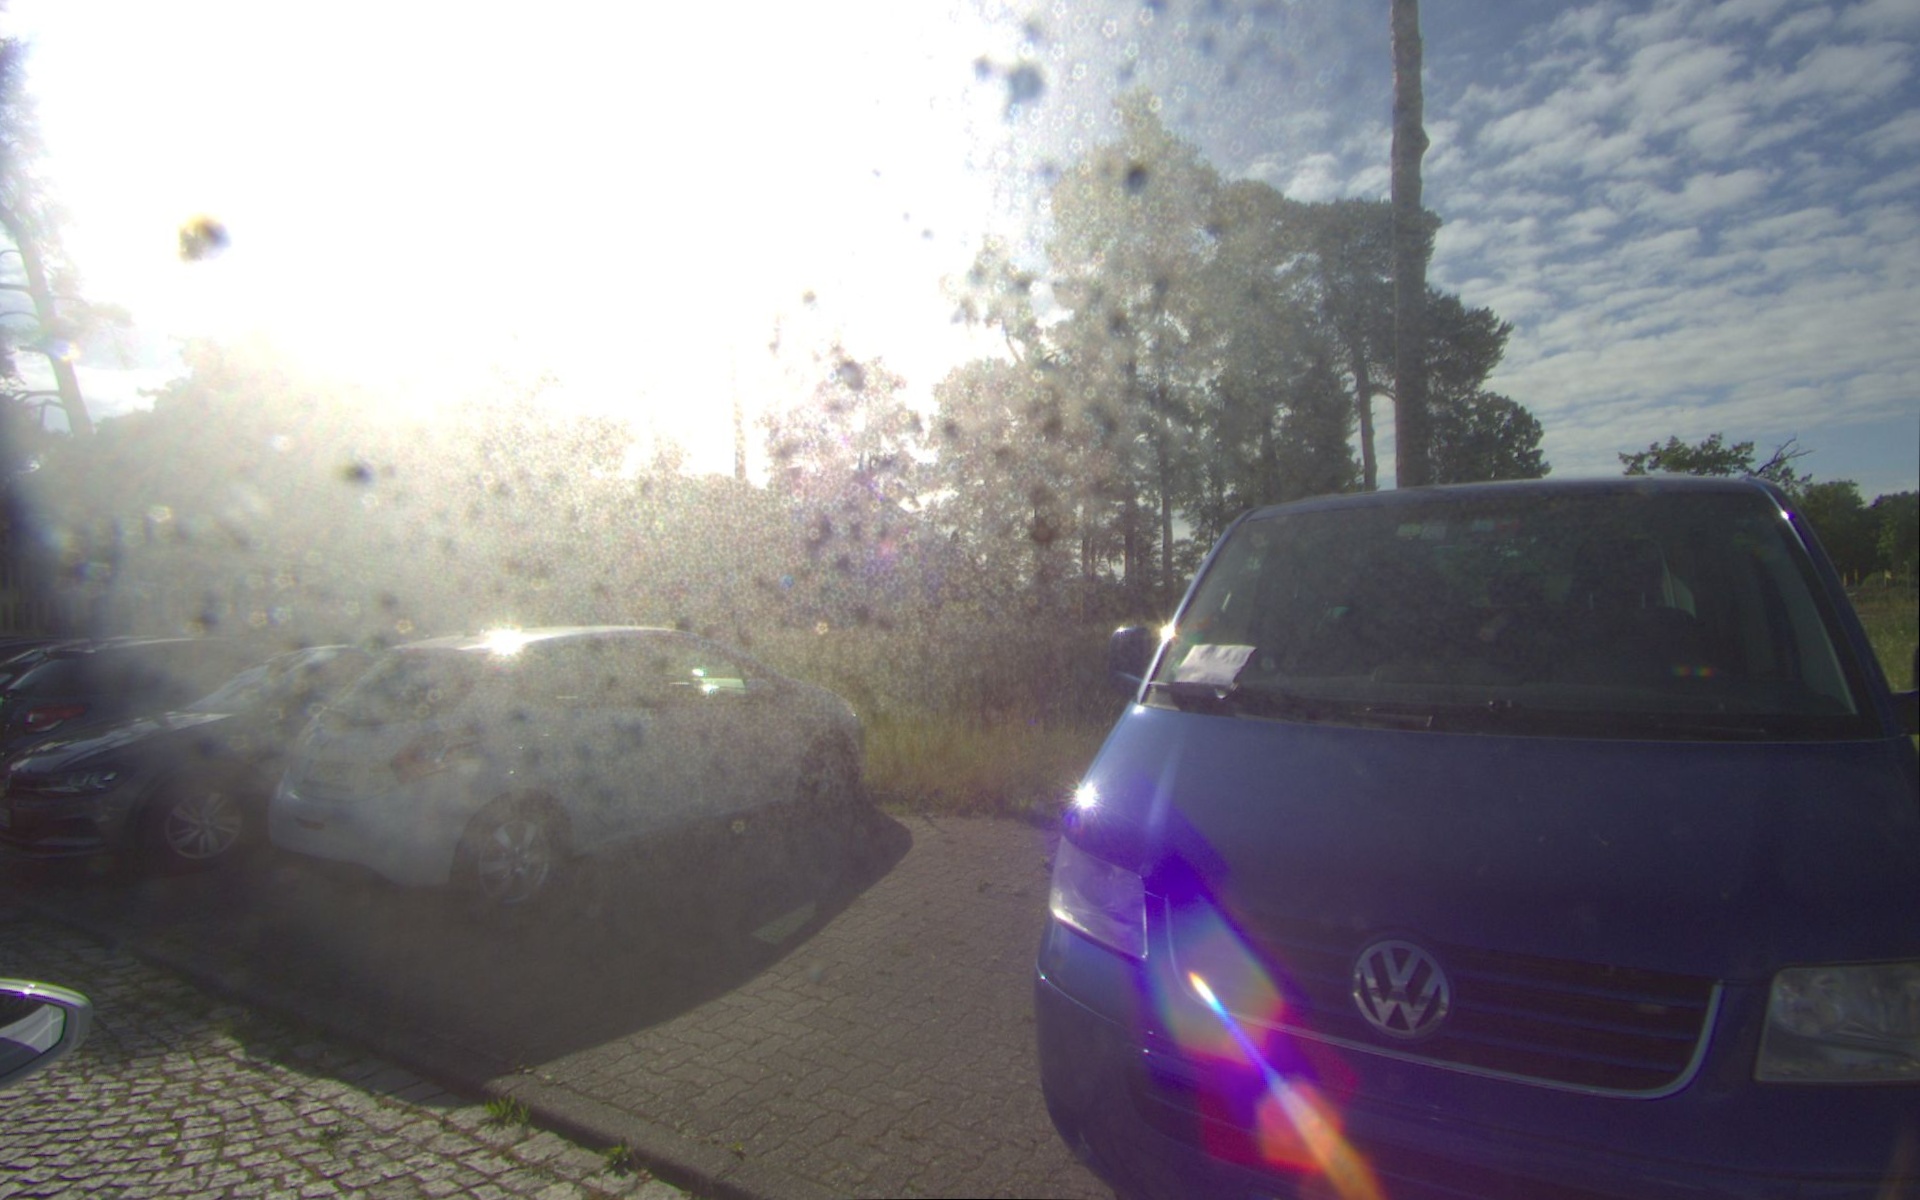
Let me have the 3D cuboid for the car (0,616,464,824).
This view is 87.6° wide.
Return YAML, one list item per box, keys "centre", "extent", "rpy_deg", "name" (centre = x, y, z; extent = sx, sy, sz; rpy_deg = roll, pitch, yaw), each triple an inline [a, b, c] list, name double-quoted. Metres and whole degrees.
- centre: [-7.083, 0.982, 9.788]
  extent: [1.643, 1.474, 3.654]
  rpy_deg: [-1, 1, 32]
  name: "car"

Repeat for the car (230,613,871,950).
- centre: [-2.338, 0.870, 6.578]
  extent: [1.611, 1.511, 3.637]
  rpy_deg: [-1, -1, 32]
  name: "car"

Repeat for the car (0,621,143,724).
- centre: [-15.566, 1.174, 15.117]
  extent: [1.842, 1.475, 4.611]
  rpy_deg: [-1, 1, 30]
  name: "car"

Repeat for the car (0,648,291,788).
- centre: [-9.466, 1.208, 10.788]
  extent: [1.515, 1.258, 3.453]
  rpy_deg: [-1, -1, 33]
  name: "car"

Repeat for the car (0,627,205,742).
- centre: [-13.155, 1.157, 13.498]
  extent: [1.763, 1.407, 4.390]
  rpy_deg: [-1, 0, 31]
  name: "car"

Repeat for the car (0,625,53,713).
- centre: [-17.561, 1.235, 16.414]
  extent: [1.642, 1.462, 3.664]
  rpy_deg: [-1, 1, 32]
  name: "car"

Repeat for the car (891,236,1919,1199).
- centre: [1.968, 0.490, 3.723]
  extent: [1.972, 2.041, 4.742]
  rpy_deg: [-1, 1, 32]
  name: "car"

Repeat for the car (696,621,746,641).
- centre: [-18.830, 2.413, 78.966]
  extent: [1.743, 1.517, 3.626]
  rpy_deg: [-1, -1, 34]
  name: "car"

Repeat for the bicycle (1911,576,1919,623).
- centre: [42.808, -0.091, 42.685]
  extent: [3.087, 2.039, 0.949]
  rpy_deg: [-3, -1, 32]
  name: "bicycle"

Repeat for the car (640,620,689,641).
- centre: [-24.682, 2.523, 83.603]
  extent: [1.743, 1.693, 3.626]
  rpy_deg: [-1, -1, 34]
  name: "car"

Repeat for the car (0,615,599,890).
- centre: [-4.982, 0.917, 7.803]
  extent: [1.733, 1.470, 3.770]
  rpy_deg: [-1, 0, 34]
  name: "car"

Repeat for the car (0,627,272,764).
- centre: [-11.185, 1.141, 12.484]
  extent: [1.632, 1.468, 3.971]
  rpy_deg: [-1, 0, 32]
  name: "car"
